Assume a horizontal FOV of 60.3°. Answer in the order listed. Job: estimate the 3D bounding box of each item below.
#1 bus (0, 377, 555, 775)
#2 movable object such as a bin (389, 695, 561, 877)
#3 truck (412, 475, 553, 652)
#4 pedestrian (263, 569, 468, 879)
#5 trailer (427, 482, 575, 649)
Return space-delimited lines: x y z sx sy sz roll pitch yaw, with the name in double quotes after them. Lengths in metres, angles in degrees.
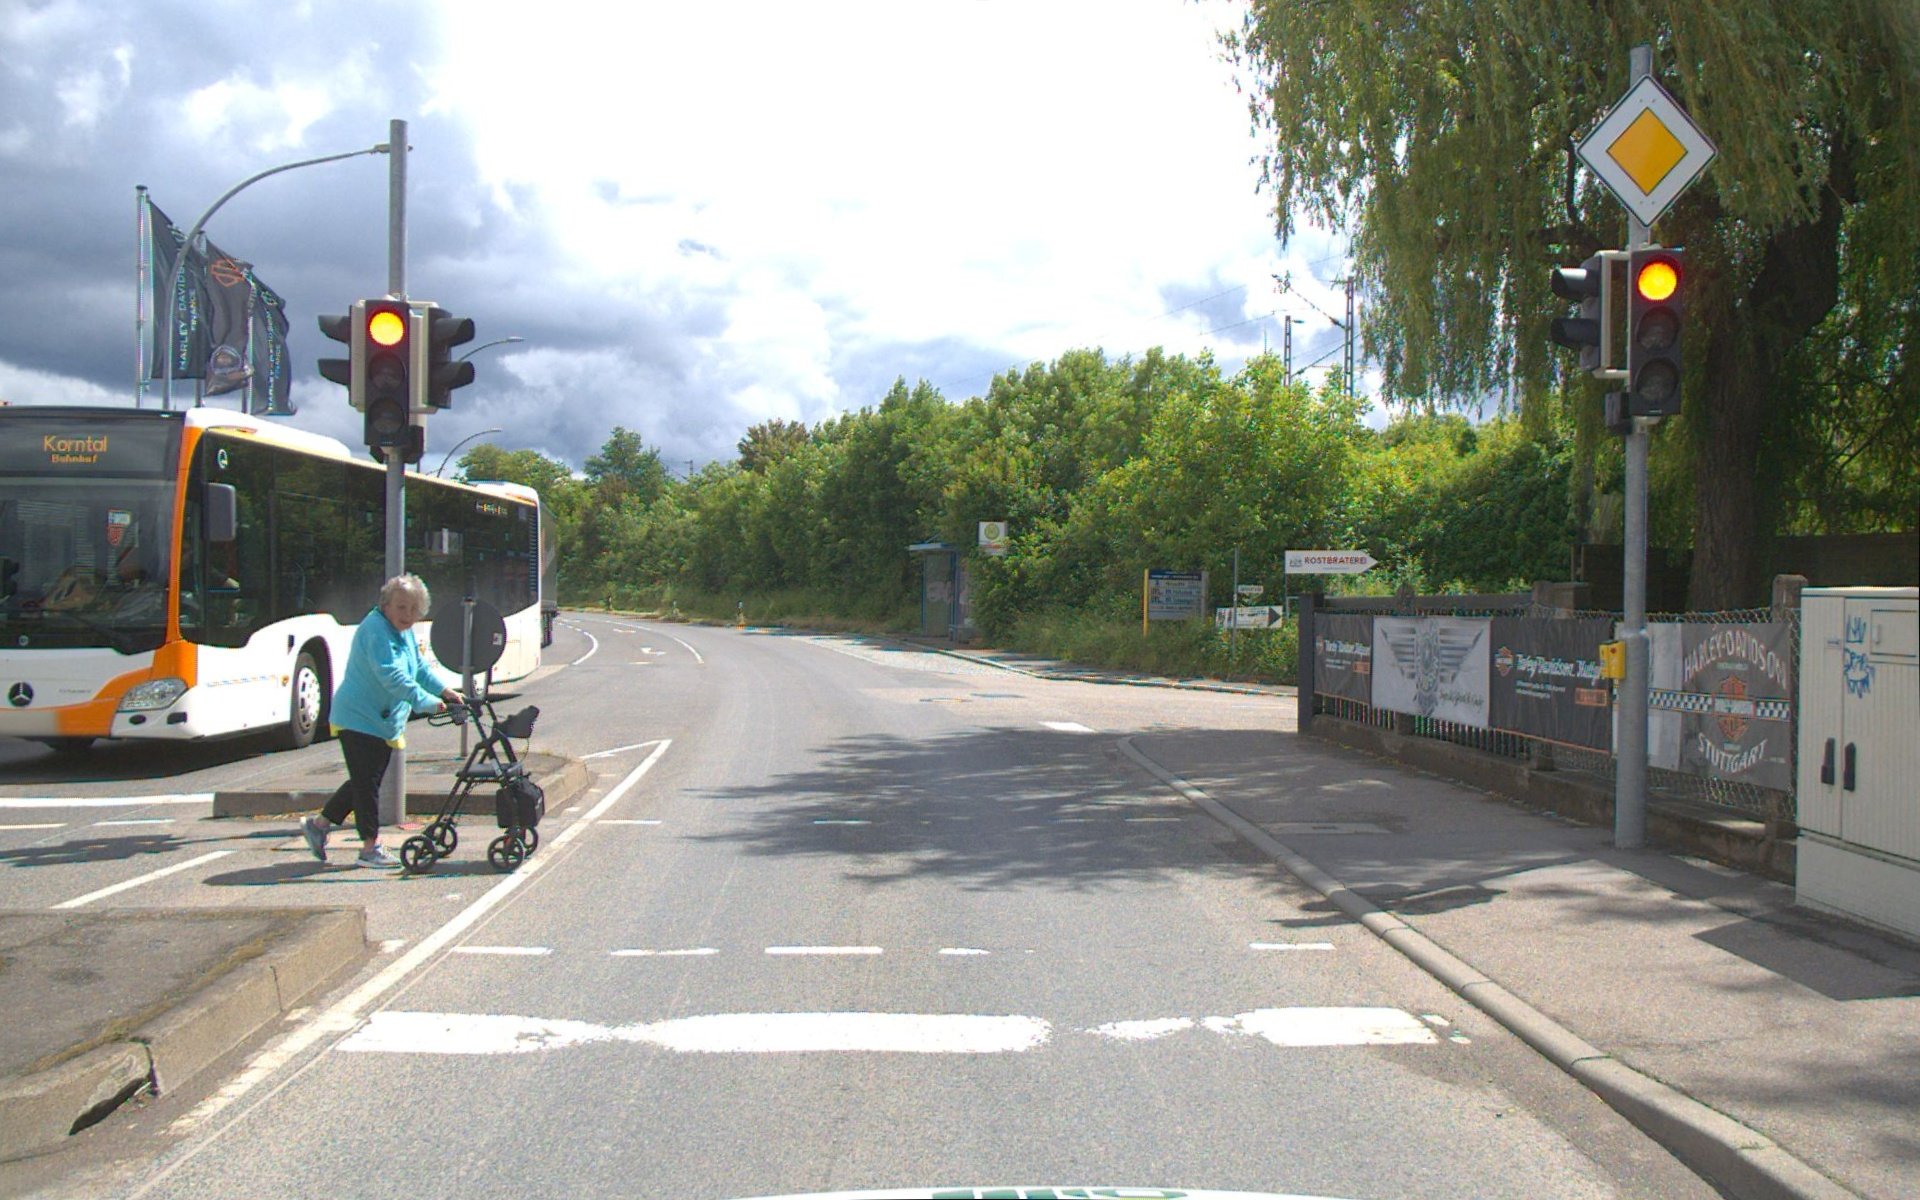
-7.397 -0.162 18.942 2.663 3.084 12.263 0 0 -1 "bus"
-2.566 0.976 8.820 0.731 0.887 0.670 1 0 -4 "movable object such as a bin"
-12.027 -0.846 42.172 2.748 4.124 6.485 1 0 -10 "truck"
-3.131 0.633 8.785 0.822 1.570 0.733 1 -1 -4 "pedestrian"
-13.210 -0.839 48.894 2.748 4.124 15.517 1 0 -10 "trailer"
